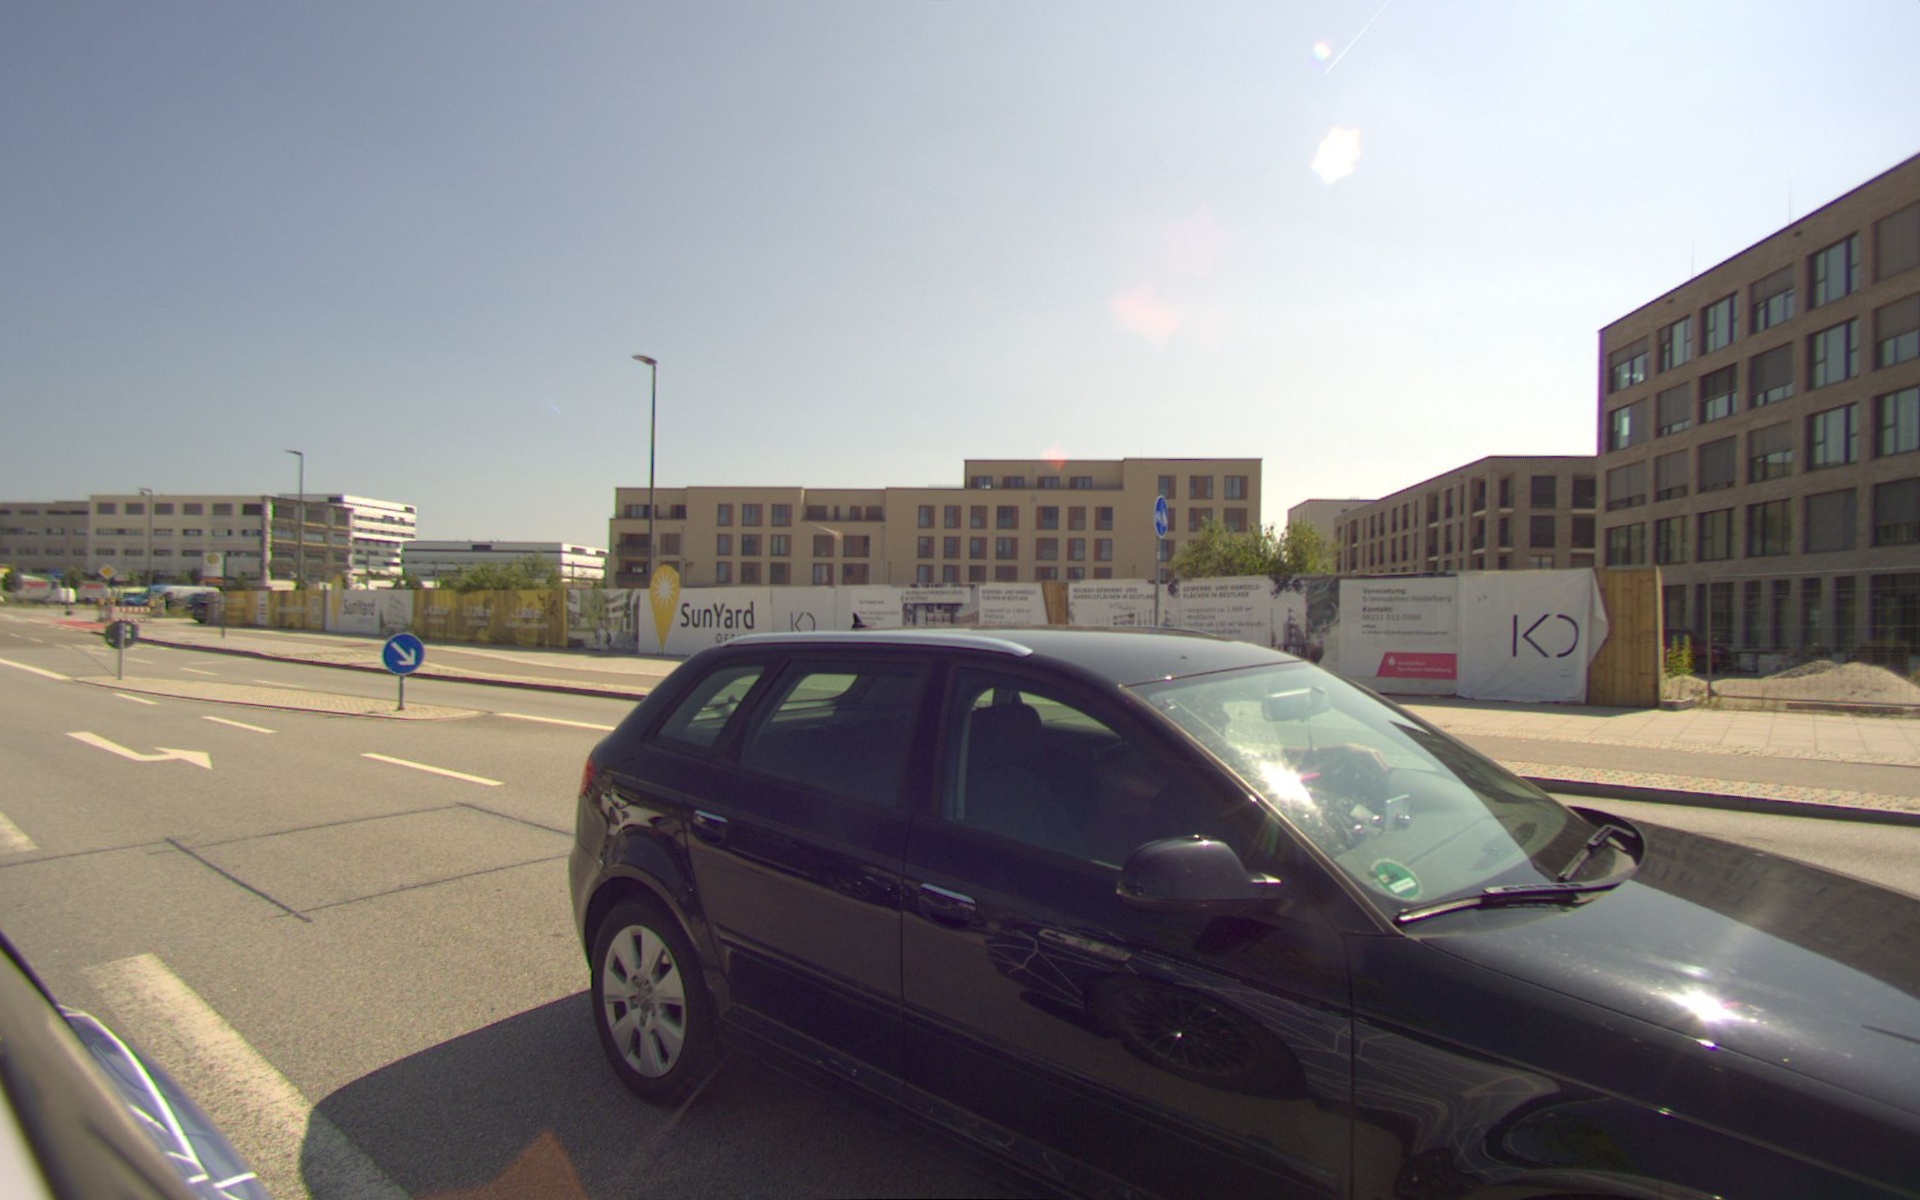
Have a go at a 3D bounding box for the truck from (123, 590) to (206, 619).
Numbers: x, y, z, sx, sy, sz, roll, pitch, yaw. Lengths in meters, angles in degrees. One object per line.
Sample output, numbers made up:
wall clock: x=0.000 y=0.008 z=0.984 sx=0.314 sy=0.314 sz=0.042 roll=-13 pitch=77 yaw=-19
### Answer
truck: x=-72.531 y=0.383 z=92.357 sx=1.996 sy=2.494 sz=5.567 roll=0 pitch=1 yaw=36

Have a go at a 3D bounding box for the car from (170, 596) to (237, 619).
car: x=-60.403 y=0.599 z=80.882 sx=1.888 sy=1.731 sz=3.885 roll=0 pitch=1 yaw=35

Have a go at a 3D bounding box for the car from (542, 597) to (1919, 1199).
car: x=0.677 y=0.716 z=2.649 sx=3.998 sy=1.422 sz=1.688 roll=0 pitch=1 yaw=41

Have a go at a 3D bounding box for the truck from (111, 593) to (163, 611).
truck: x=-114.913 y=0.294 z=141.381 sx=1.996 sy=2.494 sz=5.270 roll=0 pitch=1 yaw=36

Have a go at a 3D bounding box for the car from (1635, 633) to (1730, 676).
car: x=32.018 y=2.381 z=44.986 sx=1.814 sy=1.666 sz=3.772 roll=0 pitch=0 yaw=7

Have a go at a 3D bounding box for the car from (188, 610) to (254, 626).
car: x=-48.400 y=1.183 z=66.307 sx=1.293 sy=0.960 sz=3.315 roll=0 pitch=1 yaw=43

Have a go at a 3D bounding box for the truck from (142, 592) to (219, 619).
truck: x=-67.210 y=0.421 z=87.312 sx=1.998 sy=2.245 sz=4.942 roll=0 pitch=1 yaw=39

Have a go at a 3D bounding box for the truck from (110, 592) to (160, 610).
truck: x=-120.242 y=0.085 z=147.549 sx=1.998 sy=2.494 sz=5.346 roll=0 pitch=1 yaw=38
